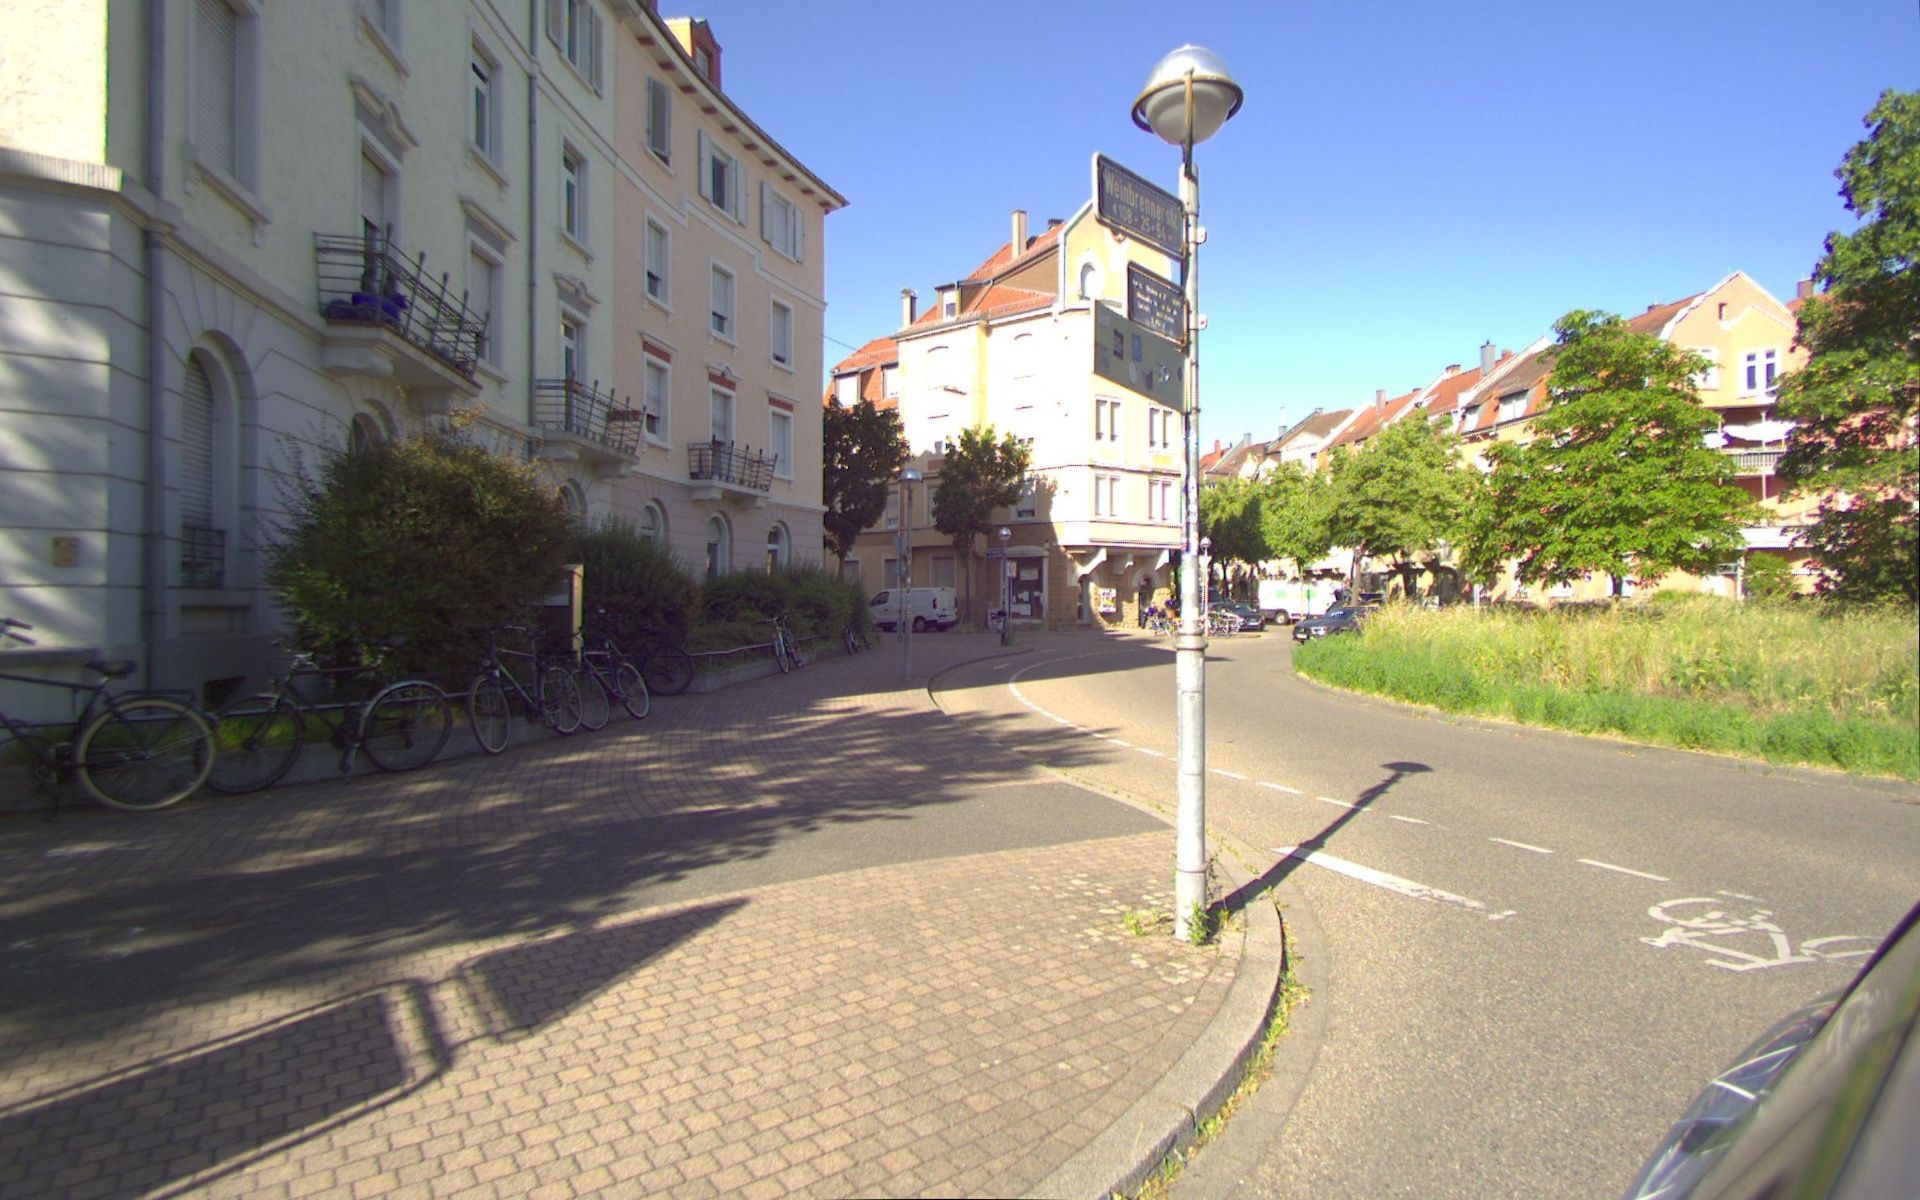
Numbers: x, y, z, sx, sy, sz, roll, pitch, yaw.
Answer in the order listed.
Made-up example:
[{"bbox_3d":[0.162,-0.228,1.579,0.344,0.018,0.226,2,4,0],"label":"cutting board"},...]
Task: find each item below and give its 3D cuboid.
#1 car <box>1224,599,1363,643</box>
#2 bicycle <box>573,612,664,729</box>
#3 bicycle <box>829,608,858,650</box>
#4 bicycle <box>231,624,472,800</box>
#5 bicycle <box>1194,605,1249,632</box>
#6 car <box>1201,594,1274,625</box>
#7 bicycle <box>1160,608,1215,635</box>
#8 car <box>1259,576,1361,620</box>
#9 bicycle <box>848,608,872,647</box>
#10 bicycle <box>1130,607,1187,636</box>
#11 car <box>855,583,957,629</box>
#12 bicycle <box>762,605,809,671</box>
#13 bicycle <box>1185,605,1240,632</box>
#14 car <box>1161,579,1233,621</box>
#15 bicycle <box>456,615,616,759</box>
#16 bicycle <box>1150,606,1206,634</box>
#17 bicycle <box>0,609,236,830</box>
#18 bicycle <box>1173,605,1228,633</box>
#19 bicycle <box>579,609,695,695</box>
[{"bbox_3d":[11.744,0.724,35.728,4.315,1.425,1.853,0,2,-13],"label":"car"},{"bbox_3d":[-3.703,0.725,11.081,0.359,1.163,1.636,0,0,3],"label":"bicycle"},{"bbox_3d":[-2.932,0.721,25.482,0.371,1.007,1.388,0,0,9],"label":"bicycle"},{"bbox_3d":[-4.482,0.772,7.568,0.349,1.117,1.553,0,1,33],"label":"bicycle"},{"bbox_3d":[10.849,0.769,42.064,0.642,1.066,2.366,0,0,-35],"label":"bicycle"},{"bbox_3d":[13.419,0.443,49.143,1.959,1.461,4.006,0,0,-8],"label":"car"},{"bbox_3d":[9.149,0.868,40.759,0.642,1.028,2.366,1,-1,-35],"label":"bicycle"},{"bbox_3d":[19.868,-0.134,57.502,5.157,2.392,2.013,0,0,34],"label":"car"},{"bbox_3d":[-2.713,0.740,27.470,0.371,1.007,1.389,0,0,6],"label":"bicycle"},{"bbox_3d":[7.802,0.820,39.875,0.642,1.066,2.366,4,-2,-35],"label":"bicycle"},{"bbox_3d":[-2.480,0.262,45.863,4.418,1.966,1.875,0,0,34],"label":"car"},{"bbox_3d":[-3.268,0.690,19.032,0.428,1.169,1.667,2,0,5],"label":"bicycle"},{"bbox_3d":[10.345,0.755,41.519,0.642,1.066,2.366,0,0,-35],"label":"bicycle"},{"bbox_3d":[12.649,-0.010,54.356,2.208,2.146,4.807,0,0,-7],"label":"car"},{"bbox_3d":[-3.834,0.732,9.306,0.437,1.163,1.773,0,0,11],"label":"bicycle"},{"bbox_3d":[8.643,0.773,40.265,0.642,1.066,2.366,0,0,-35],"label":"bicycle"},{"bbox_3d":[-5.405,0.702,6.257,1.478,1.253,0.325,-1,1,-43],"label":"bicycle"},{"bbox_3d":[9.763,0.762,41.148,0.642,1.066,2.366,1,-1,-35],"label":"bicycle"},{"bbox_3d":[-4.475,0.711,14.061,1.481,1.169,0.436,0,0,-7],"label":"bicycle"}]
